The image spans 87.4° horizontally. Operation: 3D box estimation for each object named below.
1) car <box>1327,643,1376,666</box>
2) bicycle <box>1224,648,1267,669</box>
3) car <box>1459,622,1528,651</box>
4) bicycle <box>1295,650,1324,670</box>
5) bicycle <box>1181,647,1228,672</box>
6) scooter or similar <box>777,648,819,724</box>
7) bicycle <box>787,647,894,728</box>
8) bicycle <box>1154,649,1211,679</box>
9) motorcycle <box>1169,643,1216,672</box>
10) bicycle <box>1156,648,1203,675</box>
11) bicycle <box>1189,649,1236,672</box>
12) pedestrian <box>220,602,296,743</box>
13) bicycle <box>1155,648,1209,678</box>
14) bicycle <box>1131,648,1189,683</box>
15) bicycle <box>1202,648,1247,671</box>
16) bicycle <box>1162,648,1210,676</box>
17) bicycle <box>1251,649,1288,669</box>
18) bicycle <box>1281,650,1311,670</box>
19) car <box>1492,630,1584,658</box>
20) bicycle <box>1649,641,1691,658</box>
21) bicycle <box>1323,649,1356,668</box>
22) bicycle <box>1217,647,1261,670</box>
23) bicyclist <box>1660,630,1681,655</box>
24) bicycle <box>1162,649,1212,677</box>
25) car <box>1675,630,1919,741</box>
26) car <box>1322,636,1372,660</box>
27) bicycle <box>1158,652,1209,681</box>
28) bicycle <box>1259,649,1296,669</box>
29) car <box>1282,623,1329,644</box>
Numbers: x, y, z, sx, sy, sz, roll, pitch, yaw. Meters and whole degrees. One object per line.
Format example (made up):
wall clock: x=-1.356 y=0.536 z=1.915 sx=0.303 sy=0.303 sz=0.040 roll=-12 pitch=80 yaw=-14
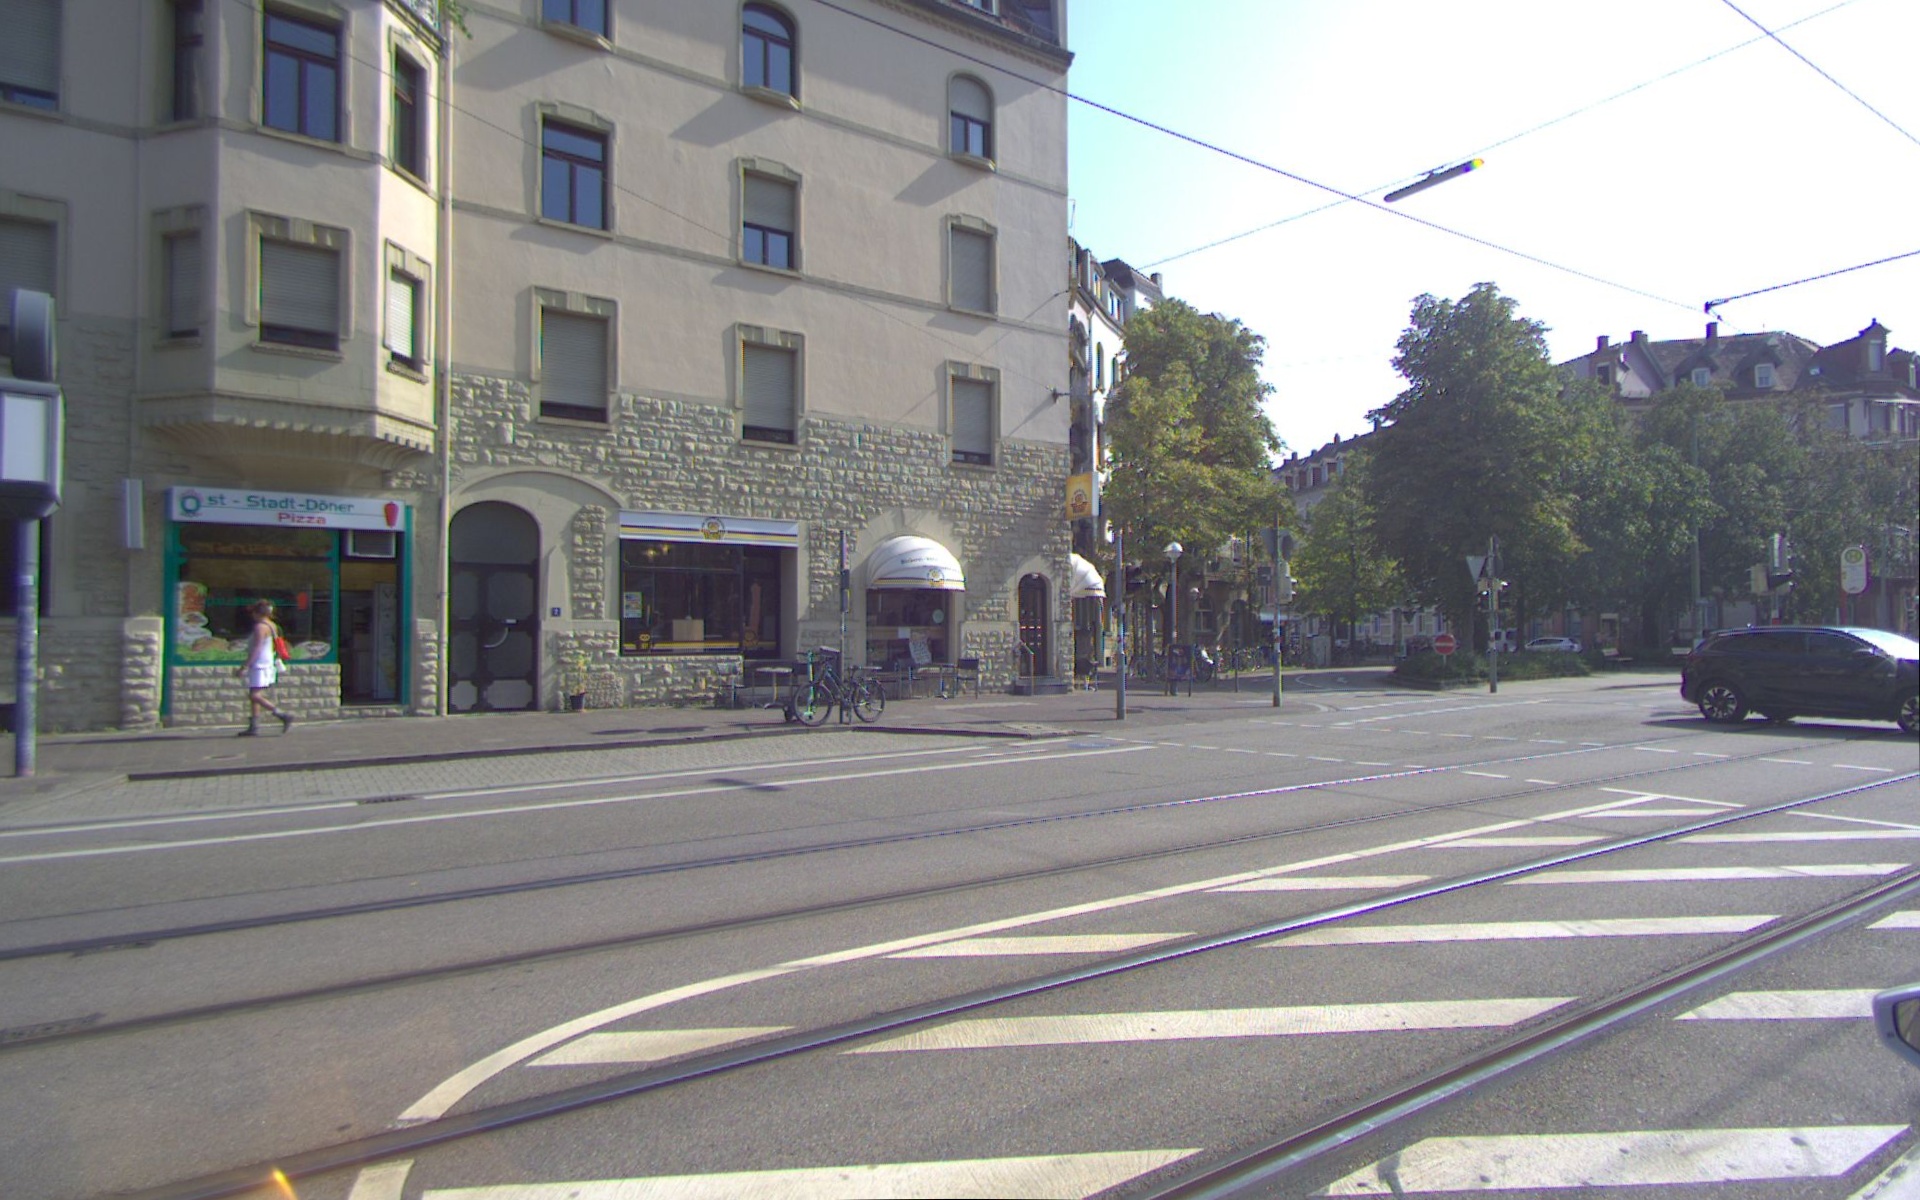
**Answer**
car: x=32.484 y=4.529 z=83.421 sx=1.964 sy=1.852 sz=3.993 roll=0 pitch=-2 yaw=-10
bicycle: x=13.545 y=2.751 z=47.676 sx=1.850 sy=0.947 sz=0.636 roll=-1 pitch=-3 yaw=40
car: x=35.380 y=2.449 z=66.736 sx=1.964 sy=1.852 sz=3.993 roll=0 pitch=-2 yaw=-10
bicycle: x=17.743 y=3.039 z=51.009 sx=1.751 sy=0.990 sz=0.422 roll=1 pitch=-2 yaw=-33
bicycle: x=10.435 y=2.534 z=42.844 sx=1.842 sy=1.041 sz=0.664 roll=0 pitch=-2 yaw=24
scooter or similar: x=-2.697 y=1.417 z=16.793 sx=0.359 sy=1.213 sz=1.035 roll=-1 pitch=-2 yaw=12
bicycle: x=-1.953 y=1.413 z=16.595 sx=1.843 sy=1.242 sz=0.449 roll=2 pitch=-3 yaw=-43
bicycle: x=7.624 y=2.192 z=34.427 sx=1.840 sy=1.017 sz=0.570 roll=0 pitch=-2 yaw=4
motorcycle: x=9.724 y=2.405 z=42.013 sx=1.839 sy=1.169 sz=0.607 roll=0 pitch=-2 yaw=24
bicycle: x=8.632 y=2.407 z=39.452 sx=1.769 sy=0.989 sz=0.661 roll=0 pitch=-2 yaw=17
bicycle: x=11.053 y=2.627 z=43.962 sx=1.875 sy=0.947 sz=0.738 roll=0 pitch=-2 yaw=24
pedestrian: x=-9.761 y=0.984 z=13.987 sx=0.822 sy=1.884 sz=0.769 roll=1 pitch=-2 yaw=-35
bicycle: x=7.920 y=2.241 z=35.894 sx=1.841 sy=1.047 sz=0.570 roll=0 pitch=-2 yaw=19
bicycle: x=6.680 y=2.191 z=33.614 sx=1.845 sy=1.127 sz=0.569 roll=1 pitch=-2 yaw=-12
bicycle: x=11.897 y=2.651 z=45.242 sx=1.864 sy=0.993 sz=0.686 roll=0 pitch=-2 yaw=24
bicycle: x=8.653 y=2.364 z=38.437 sx=1.769 sy=0.996 sz=0.661 roll=0 pitch=-2 yaw=17
bicycle: x=15.901 y=3.040 z=51.558 sx=1.742 sy=0.990 sz=0.518 roll=-2 pitch=-3 yaw=36
bicycle: x=17.065 y=3.033 z=51.006 sx=1.751 sy=0.990 sz=0.422 roll=1 pitch=-2 yaw=-33
car: x=33.998 y=2.592 z=59.140 sx=1.982 sy=1.589 sz=4.290 roll=1 pitch=-3 yaw=-38
bicycle: x=39.388 y=2.741 z=55.723 sx=1.821 sy=0.970 sz=0.548 roll=-1 pitch=-2 yaw=24
bicycle: x=20.153 y=3.116 z=53.356 sx=0.597 sy=0.990 sz=1.760 roll=0 pitch=-2 yaw=-24
bicycle: x=12.843 y=2.685 z=46.279 sx=1.864 sy=0.993 sz=0.686 roll=0 pitch=-2 yaw=24
bicyclist: x=39.400 y=2.368 z=55.730 sx=0.806 sy=1.345 sz=0.548 roll=-1 pitch=-2 yaw=23
bicycle: x=8.406 y=2.343 z=37.248 sx=1.769 sy=0.997 sz=0.570 roll=0 pitch=-2 yaw=17
car: x=13.762 y=1.250 z=15.509 sx=1.589 sy=1.535 sz=4.205 roll=0 pitch=-2 yaw=-23
car: x=30.743 y=3.808 z=79.895 sx=1.964 sy=1.852 sz=3.993 roll=0 pitch=-2 yaw=-10
bicycle: x=7.327 y=2.179 z=32.976 sx=1.577 sy=0.932 sz=0.479 roll=1 pitch=-2 yaw=-2
bicycle: x=16.475 y=3.052 z=52.092 sx=1.741 sy=0.990 sz=0.603 roll=-2 pitch=-3 yaw=35
car: x=30.959 y=2.999 z=90.202 sx=1.969 sy=1.852 sz=3.984 roll=0 pitch=-2 yaw=-19
